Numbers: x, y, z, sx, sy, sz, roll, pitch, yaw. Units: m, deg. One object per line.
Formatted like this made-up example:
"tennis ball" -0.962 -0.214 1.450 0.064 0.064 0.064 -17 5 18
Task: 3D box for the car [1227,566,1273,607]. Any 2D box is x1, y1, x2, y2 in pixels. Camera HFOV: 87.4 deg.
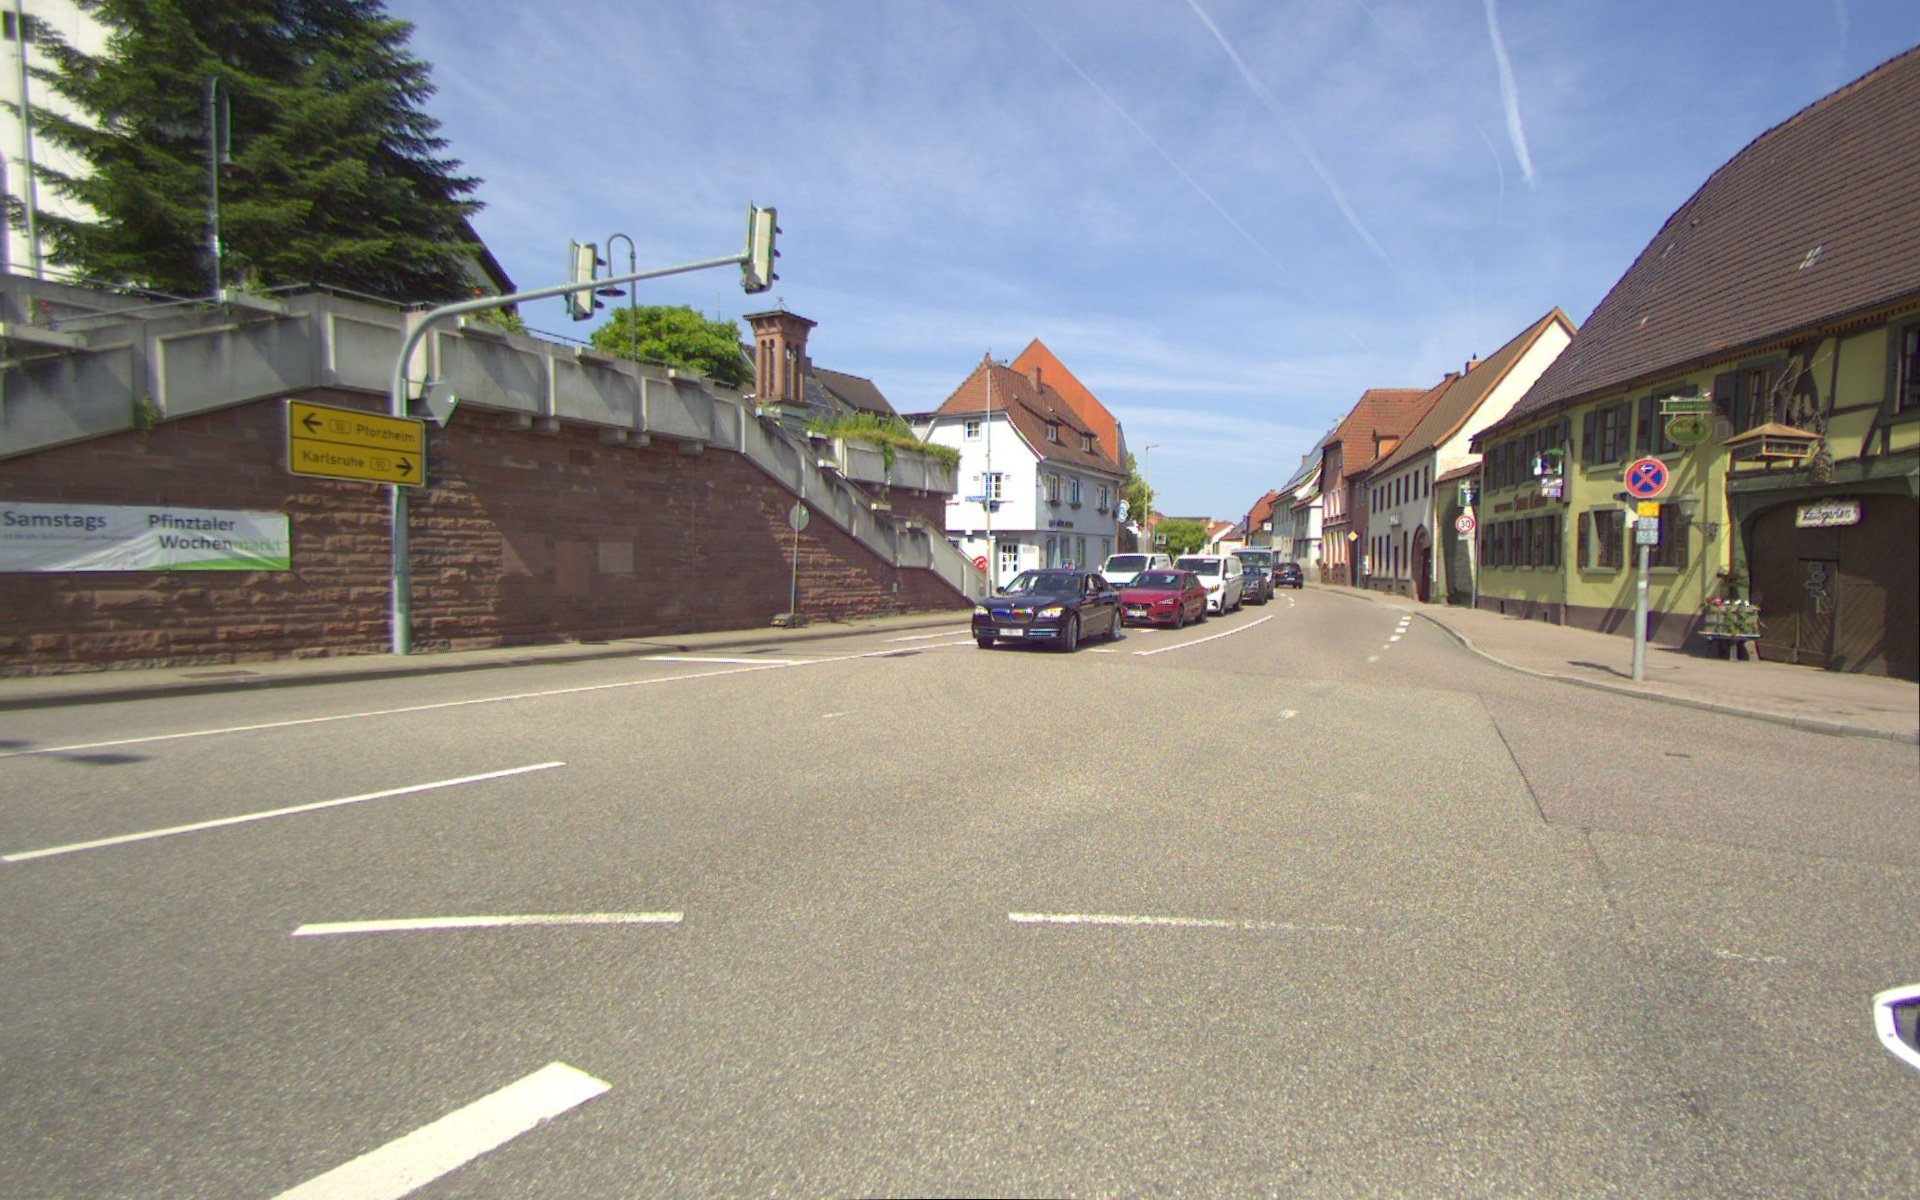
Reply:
"car" 11.169 -0.565 38.671 1.548 1.402 3.560 4 3 16

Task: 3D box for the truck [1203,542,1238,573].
"truck" 32.391 -5.225 125.154 3.106 3.507 10.716 4 2 10

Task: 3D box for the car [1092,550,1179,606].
"car" 6.807 -0.849 38.422 2.103 1.993 5.274 1 2 23

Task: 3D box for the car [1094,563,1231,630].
"car" 5.467 -0.178 26.582 2.127 1.536 4.938 3 3 29

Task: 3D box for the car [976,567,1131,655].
"car" 1.931 0.133 19.421 1.791 1.454 4.246 2 2 22

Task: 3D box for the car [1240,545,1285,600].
"car" 13.591 -1.255 45.265 1.728 2.276 4.553 4 3 16

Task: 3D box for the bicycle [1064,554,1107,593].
"bicycle" 5.464 -1.175 43.623 0.551 1.629 2.551 5 5 37

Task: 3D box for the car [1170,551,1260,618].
"car" 8.224 -0.547 32.047 1.792 1.932 4.958 2 3 26

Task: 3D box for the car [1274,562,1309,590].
"car" 21.752 -1.610 66.046 1.789 1.762 4.006 1 2 13

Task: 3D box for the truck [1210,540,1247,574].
"truck" 30.713 -4.878 115.280 3.168 3.597 9.233 4 3 10

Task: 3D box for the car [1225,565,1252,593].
"car" 17.530 -1.341 63.241 1.482 1.648 3.419 4 3 16

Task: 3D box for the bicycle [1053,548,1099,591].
"bicycle" 5.143 -1.328 44.262 0.633 1.803 2.659 5 3 37
